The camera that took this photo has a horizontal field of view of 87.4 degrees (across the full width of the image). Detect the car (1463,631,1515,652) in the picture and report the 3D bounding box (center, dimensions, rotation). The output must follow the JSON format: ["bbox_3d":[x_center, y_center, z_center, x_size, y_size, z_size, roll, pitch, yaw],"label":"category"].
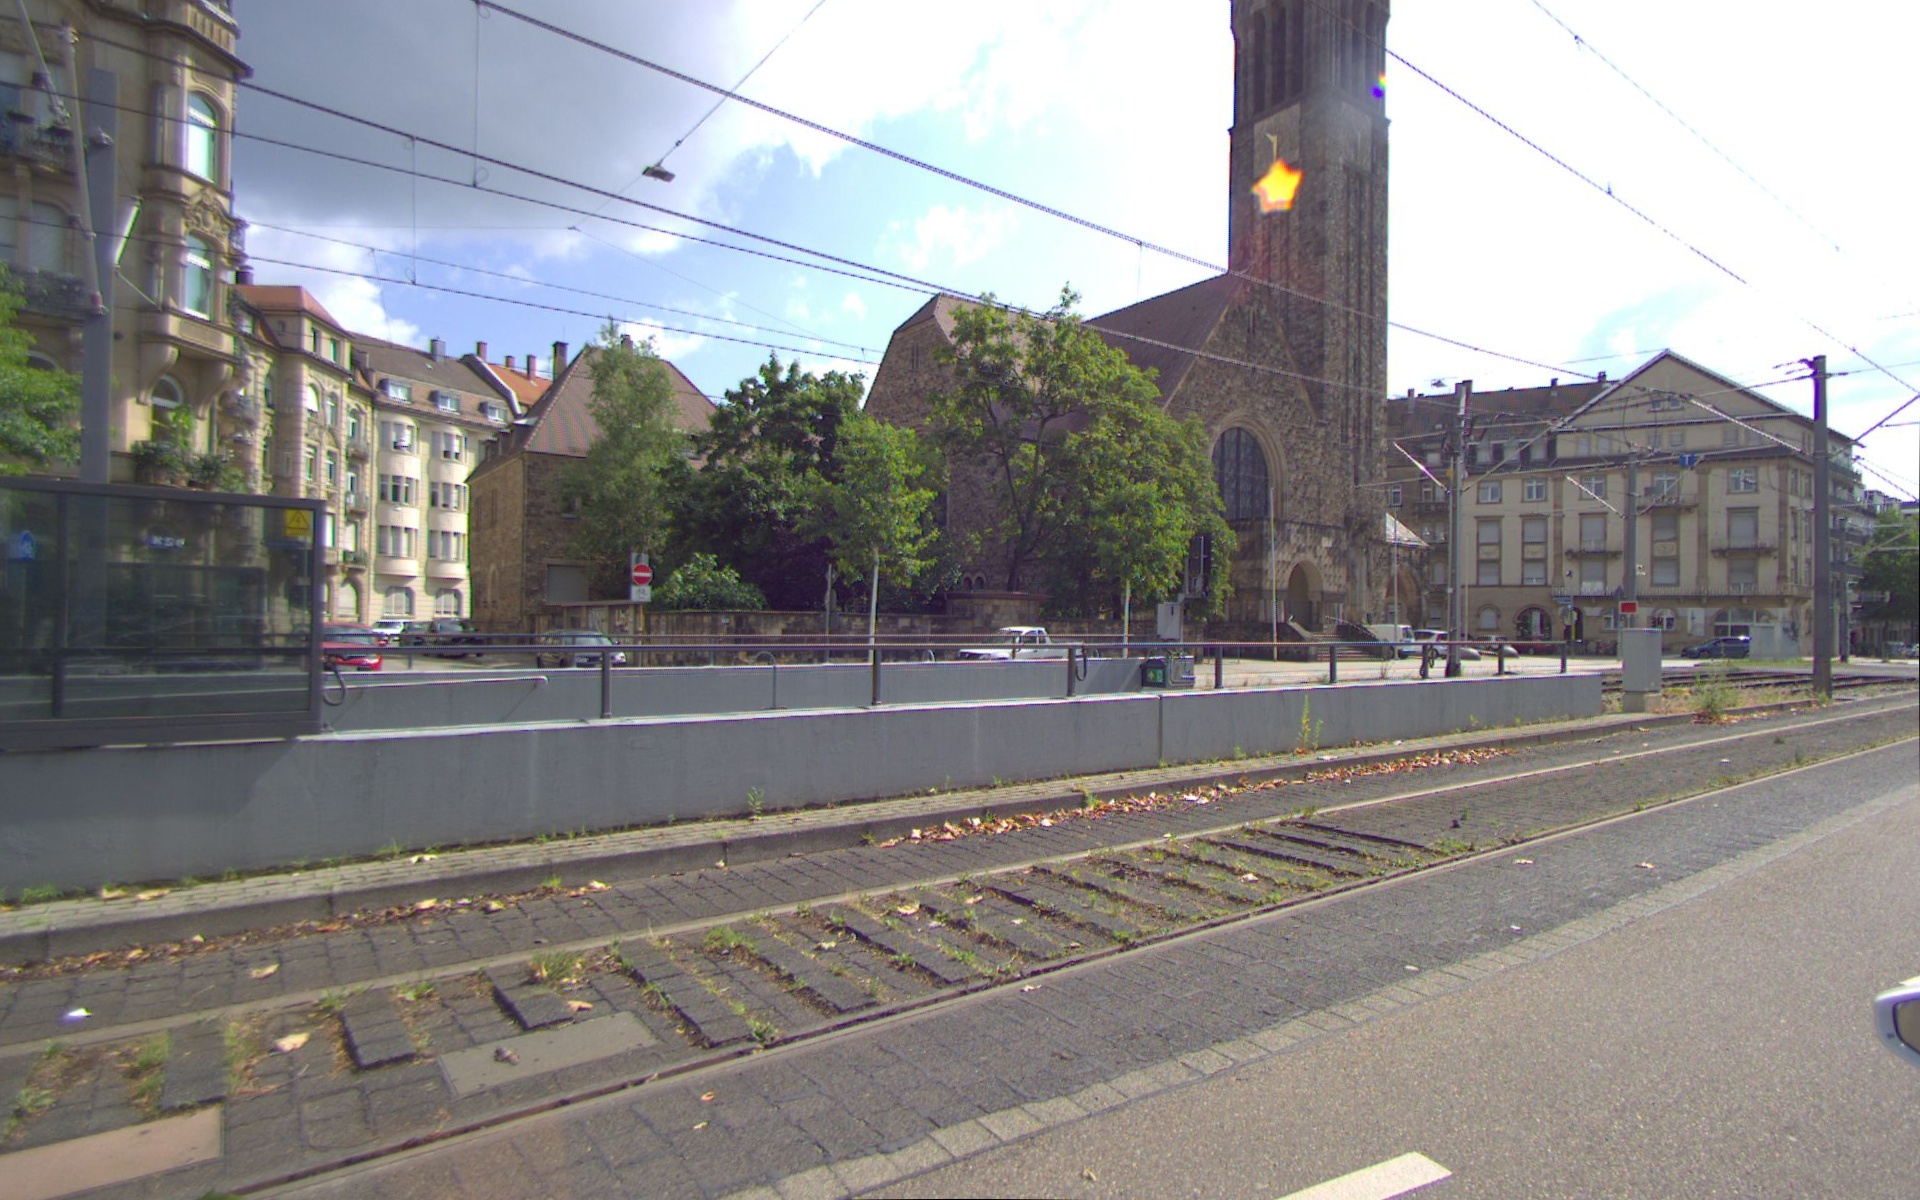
[{"bbox_3d":[43.983,3.416,83.622,1.771,1.661,3.992,1,-2,-12],"label":"car"}]

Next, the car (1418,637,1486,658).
[{"bbox_3d":[37.057,3.541,75.671,4.489,1.455,1.703,0,-2,30],"label":"car"}]

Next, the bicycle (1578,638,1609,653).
[{"bbox_3d":[49.559,3.562,78.590,1.937,1.129,0.487,0,-1,17],"label":"bicycle"}]

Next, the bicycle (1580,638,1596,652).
[{"bbox_3d":[50.578,3.618,80.911,0.728,1.067,2.565,0,-2,24],"label":"bicycle"}]

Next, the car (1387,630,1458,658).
[{"bbox_3d":[26.300,2.485,57.144,1.838,1.522,3.241,2,-2,-38],"label":"car"}]

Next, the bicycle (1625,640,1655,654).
[{"bbox_3d":[53.636,3.677,79.248,2.531,1.067,0.801,1,-1,-25],"label":"bicycle"}]

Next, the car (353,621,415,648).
[{"bbox_3d":[-37.070,2.207,64.726,1.895,1.693,3.792,1,-2,-2],"label":"car"}]

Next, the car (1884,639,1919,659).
[{"bbox_3d":[97.062,5.060,103.552,3.963,2.040,1.979,2,-2,-37],"label":"car"}]

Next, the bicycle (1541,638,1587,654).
[{"bbox_3d":[48.583,3.692,80.852,0.983,1.270,3.306,1,-2,-20],"label":"bicycle"}]

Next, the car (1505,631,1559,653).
[{"bbox_3d":[46.562,3.396,81.855,1.962,1.696,3.998,1,-1,-4],"label":"car"}]

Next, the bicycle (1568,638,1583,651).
[{"bbox_3d":[50.012,3.610,81.646,0.728,1.067,2.363,0,-2,24],"label":"bicycle"}]

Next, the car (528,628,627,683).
[{"bbox_3d":[-11.083,1.543,28.949,1.707,1.483,3.935,2,-2,-36],"label":"car"}]

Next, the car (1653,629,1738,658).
[{"bbox_3d":[53.672,3.165,73.396,4.719,2.040,1.997,0,-1,29],"label":"car"}]

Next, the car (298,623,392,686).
[{"bbox_3d":[-15.957,1.353,26.011,1.912,1.483,3.758,1,-2,-33],"label":"car"}]

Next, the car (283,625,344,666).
[{"bbox_3d":[-22.432,1.550,34.820,1.490,1.330,3.204,2,-2,-38],"label":"car"}]

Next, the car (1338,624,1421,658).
[{"bbox_3d":[23.268,2.258,55.801,1.879,1.772,3.839,2,-2,-39],"label":"car"}]

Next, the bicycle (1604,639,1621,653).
[{"bbox_3d":[52.052,3.651,80.156,0.790,1.067,2.565,0,-2,24],"label":"bicycle"}]

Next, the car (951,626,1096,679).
[{"bbox_3d":[2.034,1.591,31.392,4.376,1.524,1.916,2,-2,-39],"label":"car"}]

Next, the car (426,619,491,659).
[{"bbox_3d":[-22.433,1.720,44.862,1.916,1.692,3.752,2,-2,-38],"label":"car"}]

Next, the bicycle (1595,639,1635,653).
[{"bbox_3d":[51.264,3.611,78.616,2.518,1.067,0.682,0,-1,26],"label":"bicycle"}]

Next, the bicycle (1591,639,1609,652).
[{"bbox_3d":[51.290,3.634,80.521,0.790,1.067,2.565,0,-2,24],"label":"bicycle"}]
